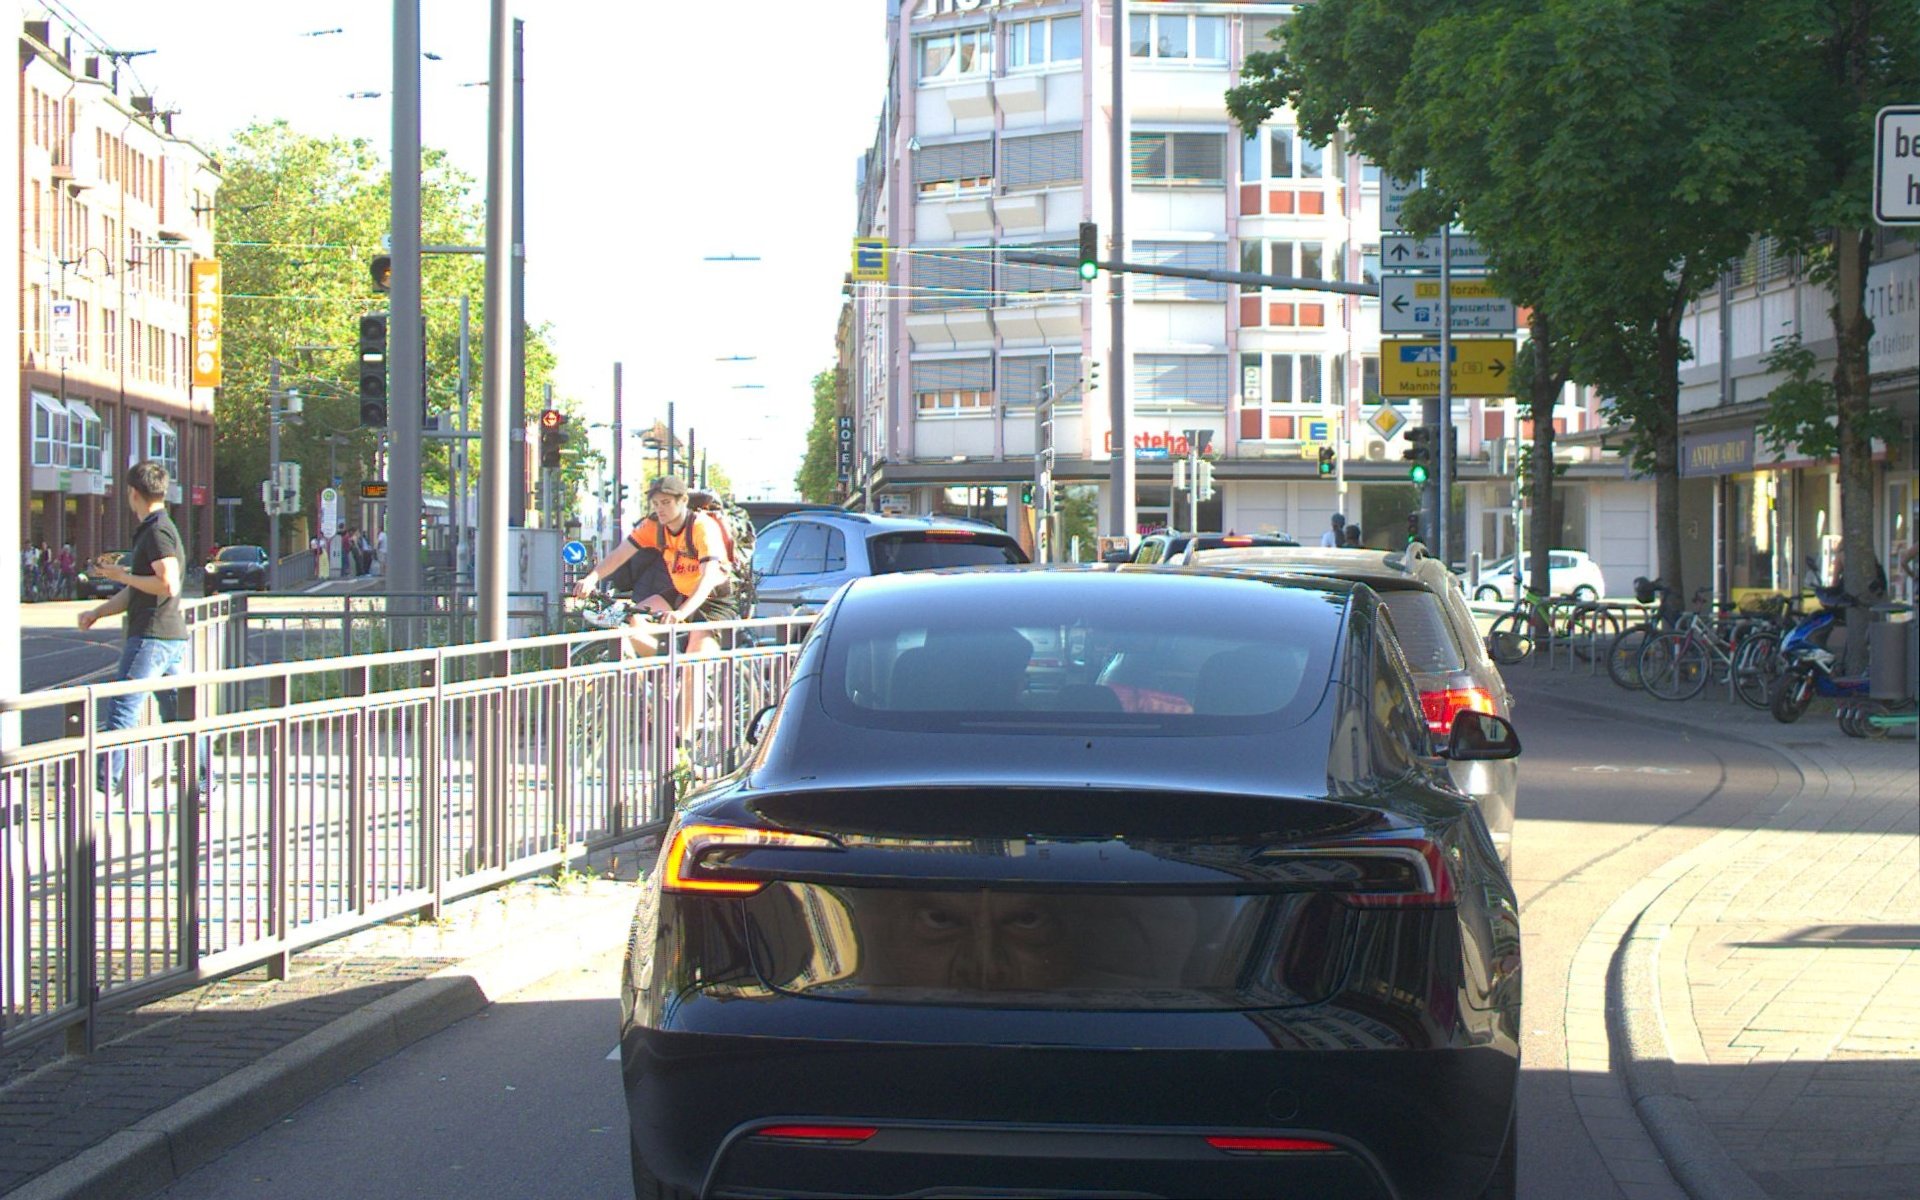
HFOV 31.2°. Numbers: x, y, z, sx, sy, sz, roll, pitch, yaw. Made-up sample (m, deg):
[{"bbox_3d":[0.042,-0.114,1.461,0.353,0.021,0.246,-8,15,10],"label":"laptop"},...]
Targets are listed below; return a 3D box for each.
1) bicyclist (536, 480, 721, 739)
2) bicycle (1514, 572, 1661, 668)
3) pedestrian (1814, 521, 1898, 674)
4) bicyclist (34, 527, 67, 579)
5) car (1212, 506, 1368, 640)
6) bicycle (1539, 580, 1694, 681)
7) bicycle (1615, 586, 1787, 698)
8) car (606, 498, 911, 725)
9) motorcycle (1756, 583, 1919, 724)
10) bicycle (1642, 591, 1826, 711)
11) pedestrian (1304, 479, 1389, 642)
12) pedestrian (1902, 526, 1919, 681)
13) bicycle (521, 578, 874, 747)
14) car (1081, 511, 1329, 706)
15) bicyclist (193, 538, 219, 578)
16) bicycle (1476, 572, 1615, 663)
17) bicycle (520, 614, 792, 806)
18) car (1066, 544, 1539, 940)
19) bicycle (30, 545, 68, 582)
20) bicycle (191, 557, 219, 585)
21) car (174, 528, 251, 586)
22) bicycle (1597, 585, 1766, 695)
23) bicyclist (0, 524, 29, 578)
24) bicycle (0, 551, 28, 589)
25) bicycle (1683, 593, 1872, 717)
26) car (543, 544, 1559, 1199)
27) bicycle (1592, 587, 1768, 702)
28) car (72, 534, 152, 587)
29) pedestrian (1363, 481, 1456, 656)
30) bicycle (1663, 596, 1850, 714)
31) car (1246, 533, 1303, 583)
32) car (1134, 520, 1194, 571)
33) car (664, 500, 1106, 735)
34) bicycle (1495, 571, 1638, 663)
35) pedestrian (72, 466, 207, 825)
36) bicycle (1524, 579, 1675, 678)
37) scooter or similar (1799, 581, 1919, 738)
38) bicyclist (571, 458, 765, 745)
[{"bbox_3d":[-2.140,0.053,22.149,0.758,1.623,0.978,0,1,-39],"label":"bicyclist"},{"bbox_3d":[7.369,0.233,40.380,1.650,1.095,0.350,1,0,1],"label":"bicycle"},{"bbox_3d":[9.878,-0.033,37.923,0.699,1.656,0.777,1,0,-1],"label":"pedestrian"},{"bbox_3d":[-27.128,-1.401,102.551,0.784,1.558,0.746,0,1,1],"label":"bicyclist"},{"bbox_3d":[4.509,-0.376,47.398,1.719,1.745,3.754,1,1,-1],"label":"car"},{"bbox_3d":[7.316,0.339,38.340,1.650,1.095,0.350,1,0,1],"label":"bicycle"},{"bbox_3d":[7.375,0.415,34.239,1.649,1.095,0.350,1,0,-10],"label":"bicycle"},{"bbox_3d":[-1.982,0.072,32.618,1.993,2.007,4.001,0,1,-17],"label":"car"},{"bbox_3d":[7.717,0.455,29.303,1.707,1.169,0.541,1,0,-2],"label":"motorcycle"},{"bbox_3d":[7.186,0.474,31.913,1.649,1.095,0.350,1,0,-10],"label":"bicycle"},{"bbox_3d":[4.828,-0.494,42.990,0.921,2.007,0.972,1,0,-1],"label":"pedestrian"},{"bbox_3d":[10.729,0.043,37.981,0.526,1.704,0.403,1,0,6],"label":"pedestrian"},{"bbox_3d":[-1.697,0.394,22.509,2.329,1.050,0.631,0,1,-38],"label":"bicycle"},{"bbox_3d":[2.323,0.057,33.584,1.598,1.772,3.982,1,1,-8],"label":"car"},{"bbox_3d":[-29.447,-1.633,134.275,0.784,1.558,0.746,1,0,2],"label":"bicyclist"},{"bbox_3d":[7.238,0.216,42.520,1.650,1.095,0.350,1,0,1],"label":"bicycle"},{"bbox_3d":[-1.627,0.576,18.621,0.403,0.990,1.598,1,1,43],"label":"bicycle"},{"bbox_3d":[1.483,0.499,14.937,1.751,1.449,3.999,1,1,6],"label":"car"},{"bbox_3d":[-27.168,-1.100,102.562,0.529,1.085,2.284,0,1,0],"label":"bicycle"},{"bbox_3d":[-29.457,-1.121,134.131,0.529,1.085,2.224,1,1,1],"label":"bicycle"},{"bbox_3d":[-23.040,-1.320,106.064,1.697,1.725,3.707,1,1,-3],"label":"car"},{"bbox_3d":[7.423,0.408,35.388,1.650,1.095,0.350,1,0,1],"label":"bicycle"},{"bbox_3d":[-27.161,-1.403,98.425,0.784,1.558,0.746,1,0,1],"label":"bicyclist"},{"bbox_3d":[-27.173,-0.862,98.072,0.537,1.085,2.225,1,1,0],"label":"bicycle"},{"bbox_3d":[7.388,0.494,31.067,1.649,1.095,0.350,1,0,-10],"label":"bicycle"},{"bbox_3d":[0.306,0.618,8.229,1.829,1.450,3.999,1,1,4],"label":"car"},{"bbox_3d":[7.005,0.430,33.440,1.649,1.095,0.350,1,0,-10],"label":"bicycle"},{"bbox_3d":[-25.333,-1.183,102.817,1.710,1.521,4.037,1,1,-5],"label":"car"},{"bbox_3d":[5.253,-0.371,40.248,0.921,2.007,0.972,1,0,-1],"label":"pedestrian"},{"bbox_3d":[7.291,0.502,31.489,1.649,1.057,0.350,1,0,-10],"label":"bicycle"},{"bbox_3d":[7.073,-0.949,77.269,0.922,1.096,1.866,0,1,16],"label":"car"},{"bbox_3d":[4.482,-1.182,75.439,0.922,1.096,1.866,1,1,16],"label":"car"},{"bbox_3d":[-0.673,0.099,26.481,1.883,1.656,4.159,1,1,-25],"label":"car"},{"bbox_3d":[7.305,0.207,41.426,1.650,1.095,0.350,0,1,1],"label":"bicycle"},{"bbox_3d":[-3.933,0.212,16.513,0.590,1.675,0.774,1,0,-12],"label":"pedestrian"},{"bbox_3d":[7.319,0.325,39.359,1.650,1.095,0.350,1,0,1],"label":"bicycle"},{"bbox_3d":[7.561,0.471,27.229,1.644,1.211,0.644,1,1,30],"label":"scooter or similar"},{"bbox_3d":[-1.579,0.008,18.660,0.391,1.516,1.041,1,1,43],"label":"bicyclist"}]
